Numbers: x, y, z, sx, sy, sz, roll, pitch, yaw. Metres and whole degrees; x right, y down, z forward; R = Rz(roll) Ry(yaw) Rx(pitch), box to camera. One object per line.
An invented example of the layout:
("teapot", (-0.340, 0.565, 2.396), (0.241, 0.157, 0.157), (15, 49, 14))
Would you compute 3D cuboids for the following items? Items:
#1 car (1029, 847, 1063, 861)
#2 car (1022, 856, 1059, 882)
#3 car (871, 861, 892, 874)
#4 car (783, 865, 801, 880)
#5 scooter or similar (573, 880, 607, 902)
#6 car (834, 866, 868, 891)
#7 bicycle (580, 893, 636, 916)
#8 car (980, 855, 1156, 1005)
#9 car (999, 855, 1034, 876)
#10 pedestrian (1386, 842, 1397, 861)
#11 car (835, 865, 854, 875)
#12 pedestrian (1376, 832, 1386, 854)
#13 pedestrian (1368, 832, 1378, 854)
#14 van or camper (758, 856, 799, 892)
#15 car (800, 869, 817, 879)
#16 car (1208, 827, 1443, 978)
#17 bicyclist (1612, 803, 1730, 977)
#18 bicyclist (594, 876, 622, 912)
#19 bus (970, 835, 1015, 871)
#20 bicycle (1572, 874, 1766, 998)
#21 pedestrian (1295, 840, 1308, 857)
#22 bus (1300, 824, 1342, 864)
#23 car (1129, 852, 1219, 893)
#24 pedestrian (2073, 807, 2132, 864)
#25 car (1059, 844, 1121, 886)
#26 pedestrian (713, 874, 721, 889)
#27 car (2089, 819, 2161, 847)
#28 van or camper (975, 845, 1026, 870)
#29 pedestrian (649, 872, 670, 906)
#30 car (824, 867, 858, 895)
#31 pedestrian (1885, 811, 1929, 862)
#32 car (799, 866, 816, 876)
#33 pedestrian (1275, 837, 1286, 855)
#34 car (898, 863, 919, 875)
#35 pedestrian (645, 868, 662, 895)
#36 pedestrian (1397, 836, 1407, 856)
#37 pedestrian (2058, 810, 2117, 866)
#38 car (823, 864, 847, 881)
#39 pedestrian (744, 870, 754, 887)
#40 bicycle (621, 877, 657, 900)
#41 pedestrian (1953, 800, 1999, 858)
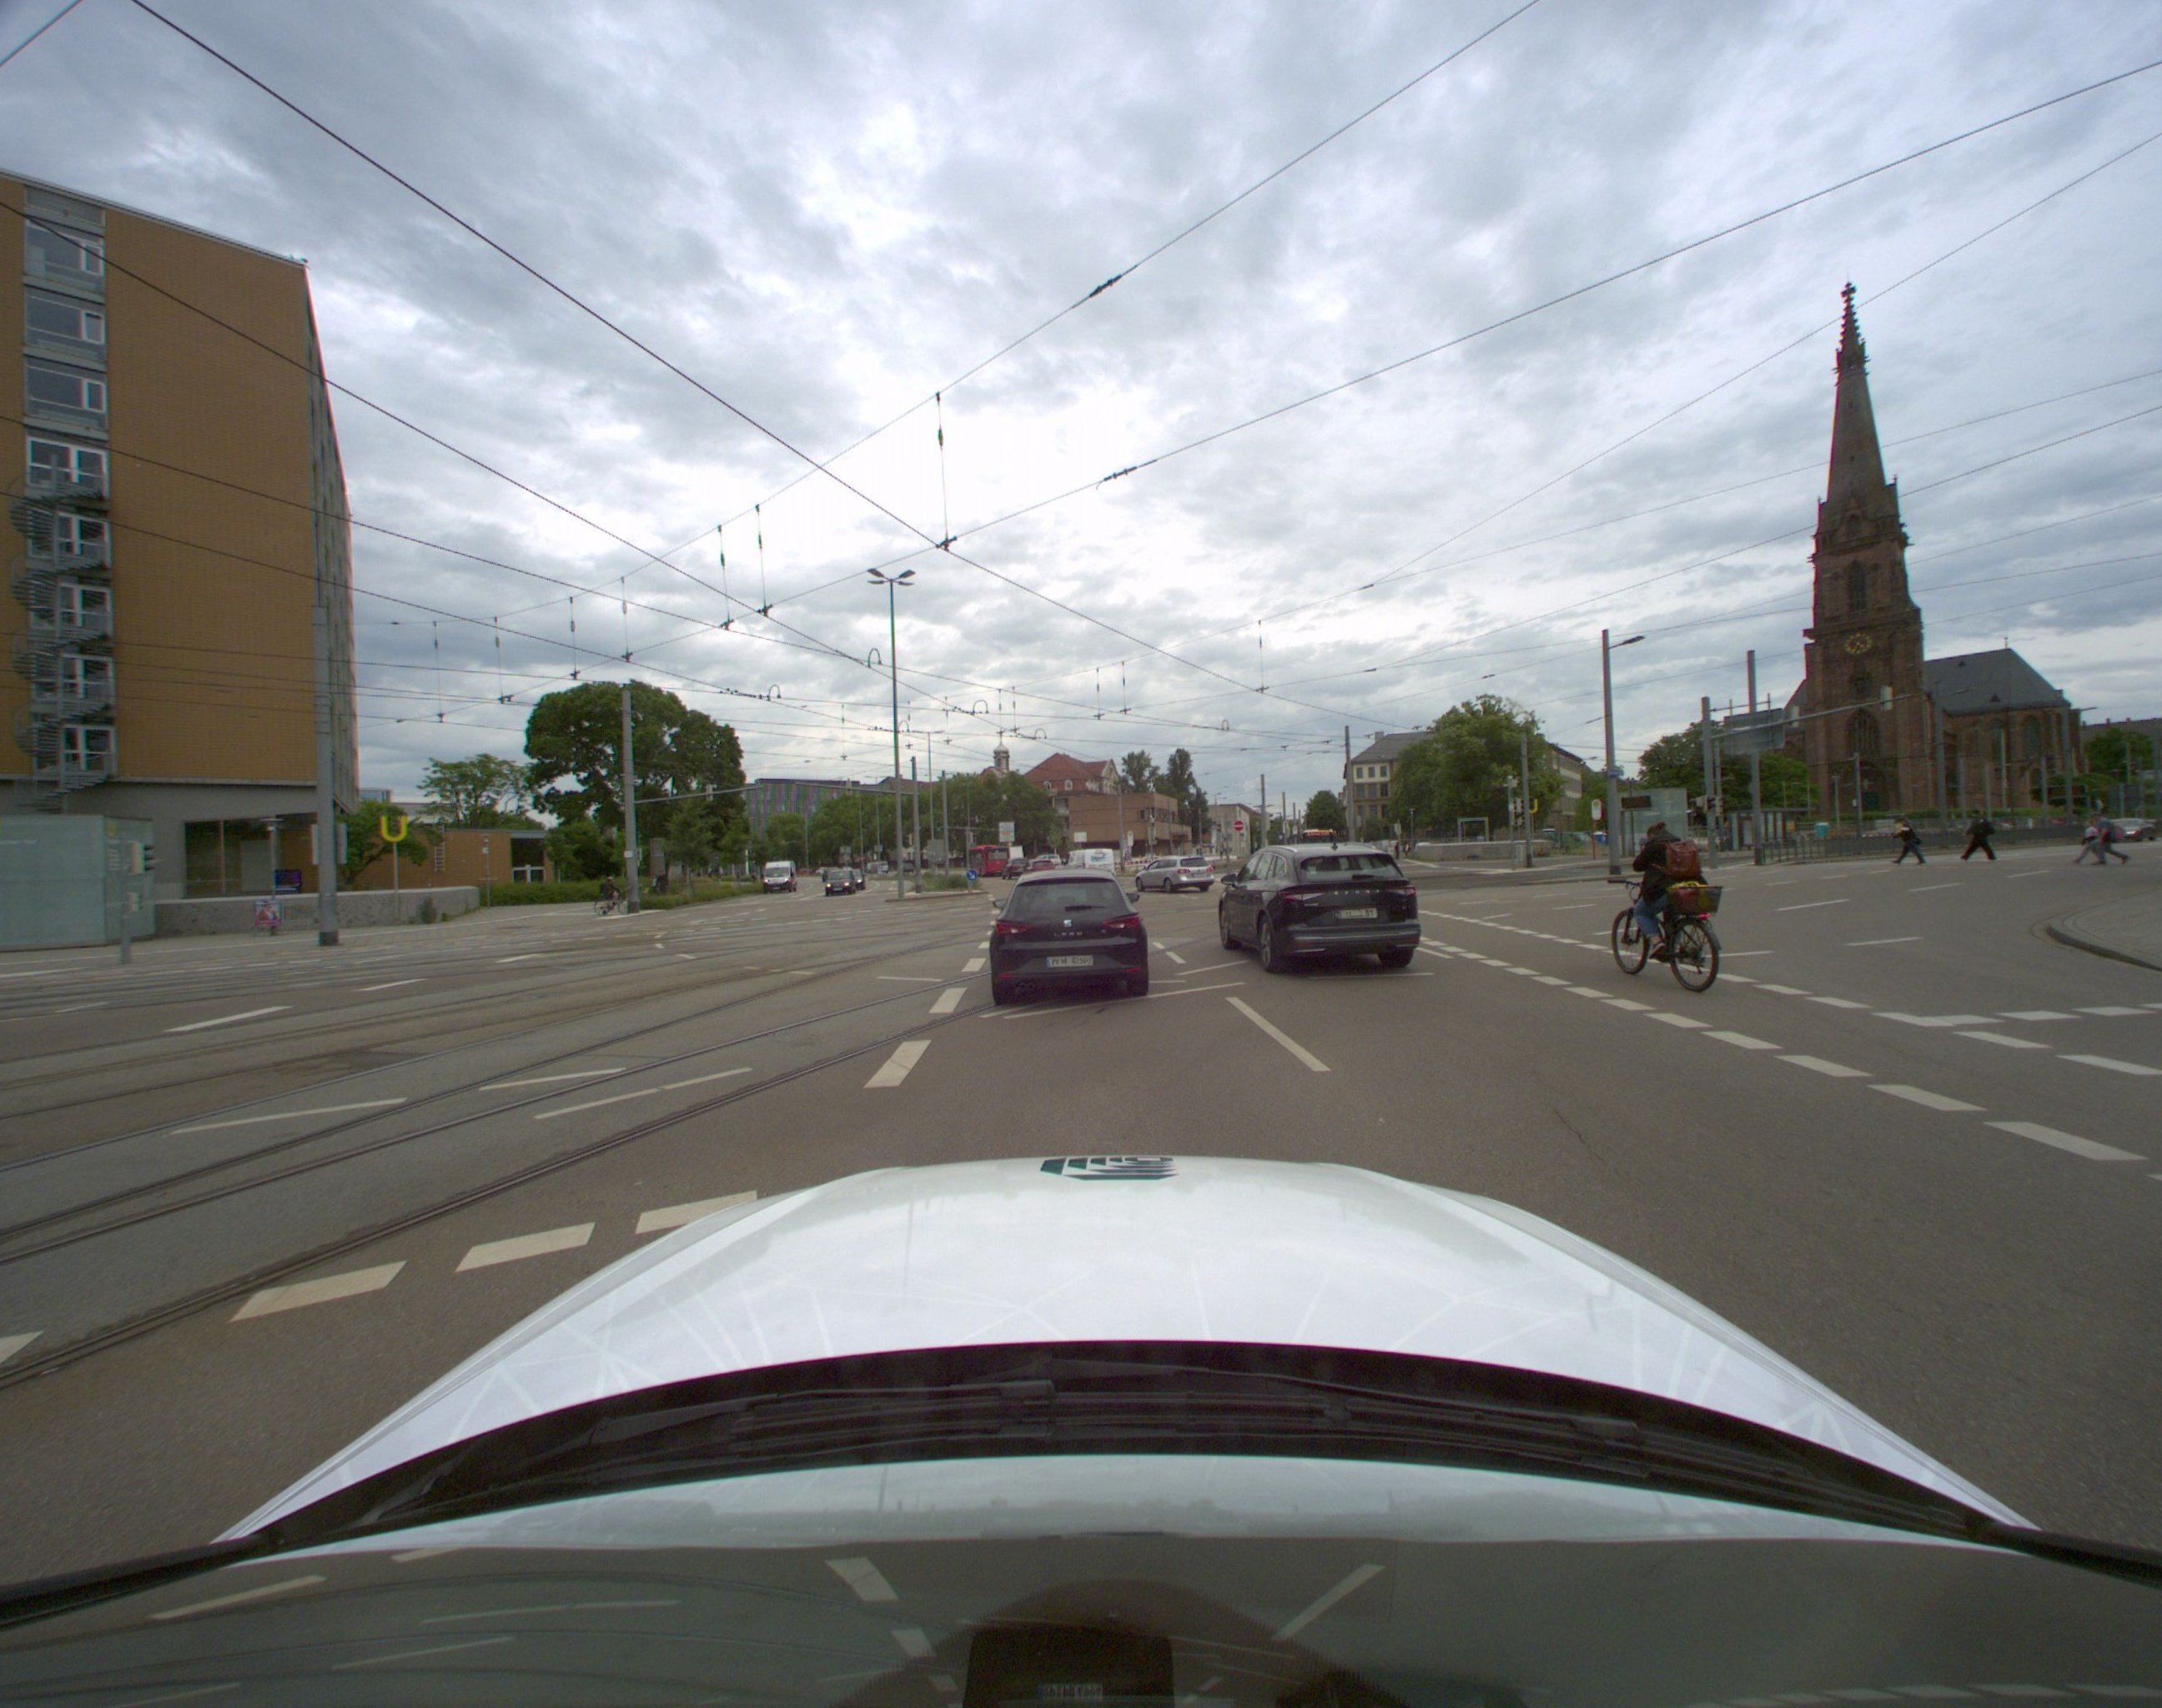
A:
("car", (-5.437, 0.052, 127.374), (5.029, 1.864, 1.977), (-3, -3, -38))
("car", (-2.770, 1.005, 55.061), (1.858, 1.600, 4.189), (-3, 0, -11))
("car", (-31.672, 2.182, 129.081), (2.007, 2.013, 3.959), (-2, 0, -32))
("car", (-41.404, 2.622, 116.644), (2.004, 2.013, 3.965), (-2, 0, -26))
("scooter or similar", (-32.193, 2.432, 53.406), (1.779, 1.302, 0.625), (-3, 0, -26))
("car", (-16.047, 1.676, 57.050), (1.872, 1.508, 4.460), (-5, 0, -12))
("bicycle", (-22.228, 2.388, 38.303), (2.109, 1.029, 0.793), (-1, -5, -5))
("car", (-0.181, 0.773, 10.278), (1.741, 1.464, 3.997), (-2, 0, -2))
("car", (-5.221, 0.925, 65.500), (1.998, 1.566, 4.182), (-3, 0, -16))
("pedestrian", (30.919, -0.280, 81.049), (0.816, 1.808, 1.026), (-4, -2, 22))
("car", (-42.004, 2.812, 144.683), (2.008, 1.750, 3.958), (-2, 0, -34))
("pedestrian", (58.754, -2.127, 159.491), (1.300, 4.253, 1.349), (-2, 0, 7))
("pedestrian", (57.233, -2.188, 159.611), (1.379, 4.253, 1.349), (-2, 0, 7))
("van or camper", (-23.624, 1.544, 63.868), (2.283, 2.527, 5.546), (-3, 0, -14))
("car", (-54.871, 4.003, 163.750), (2.010, 1.750, 3.954), (-2, -1, -39))
("car", (3.179, 0.560, 11.653), (1.898, 1.658, 4.513), (-3, 0, -1))
("bicyclist", (6.079, 0.352, 8.434), (0.613, 1.690, 0.807), (-2, 0, 4))
("bicyclist", (-22.260, 1.878, 38.368), (0.810, 1.657, 0.793), (-1, -6, -2))
("bus", (-9.193, -0.013, 83.468), (3.062, 3.297, 12.323), (-2, 0, -13))
("bicycle", (6.105, 0.792, 8.637), (0.622, 1.055, 2.128), (-3, 0, 4))
("pedestrian", (22.136, -0.580, 81.706), (0.995, 1.645, 1.026), (-3, 0, 22))
("bus", (22.037, -0.894, 74.249), (2.991, 3.268, 13.106), (-3, 0, 19))
("car", (3.765, 0.762, 33.800), (1.727, 1.482, 4.595), (-4, 0, -21))
("pedestrian", (29.970, -0.530, 23.905), (0.885, 1.602, 0.789), (-3, -1, 41))
("car", (0.386, 0.572, 43.749), (1.997, 2.019, 5.006), (-3, 0, -15))
("pedestrian", (-36.823, 2.766, 82.450), (0.563, 1.541, 0.751), (-2, -1, -17))
("car", (63.923, -1.301, 49.650), (4.451, 1.486, 1.984), (-2, 0, -24))
("van or camper", (-12.072, 0.445, 122.323), (7.188, 3.332, 2.843), (-3, -2, -38))
("pedestrian", (-24.963, 2.062, 48.271), (0.818, 1.980, 0.656), (-3, 0, -8))
("car", (-14.589, 1.596, 49.601), (1.620, 1.515, 3.649), (-3, 0, -12))
("pedestrian", (27.445, -0.572, 27.073), (0.892, 1.643, 0.789), (-3, -1, 41))
("car", (-51.796, 3.261, 154.164), (2.009, 1.681, 3.967), (-2, 0, -35))
("pedestrian", (20.674, -0.815, 84.356), (0.816, 1.808, 1.026), (-3, 0, 22))
("car", (-24.840, 2.165, 117.091), (2.004, 1.539, 3.965), (-2, 0, -26))
("pedestrian", (-29.314, 1.882, 55.832), (0.746, 1.733, 0.684), (-3, 0, -8))
("pedestrian", (31.596, -0.797, 80.086), (0.816, 1.853, 1.026), (-3, 0, 22))
("pedestrian", (30.390, -0.481, 24.607), (0.939, 1.612, 0.773), (-3, -1, 41))
("car", (-27.981, 2.115, 92.552), (1.879, 1.725, 4.674), (-4, 0, -24))
("pedestrian", (-37.147, 2.780, 91.179), (0.895, 1.842, 0.663), (-3, 0, -17))
("bicycle", (-30.345, 2.368, 55.978), (0.841, 1.449, 2.261), (-3, 0, 12))
("pedestrian", (30.517, -0.849, 27.783), (0.892, 1.912, 0.789), (-3, -1, 41))
